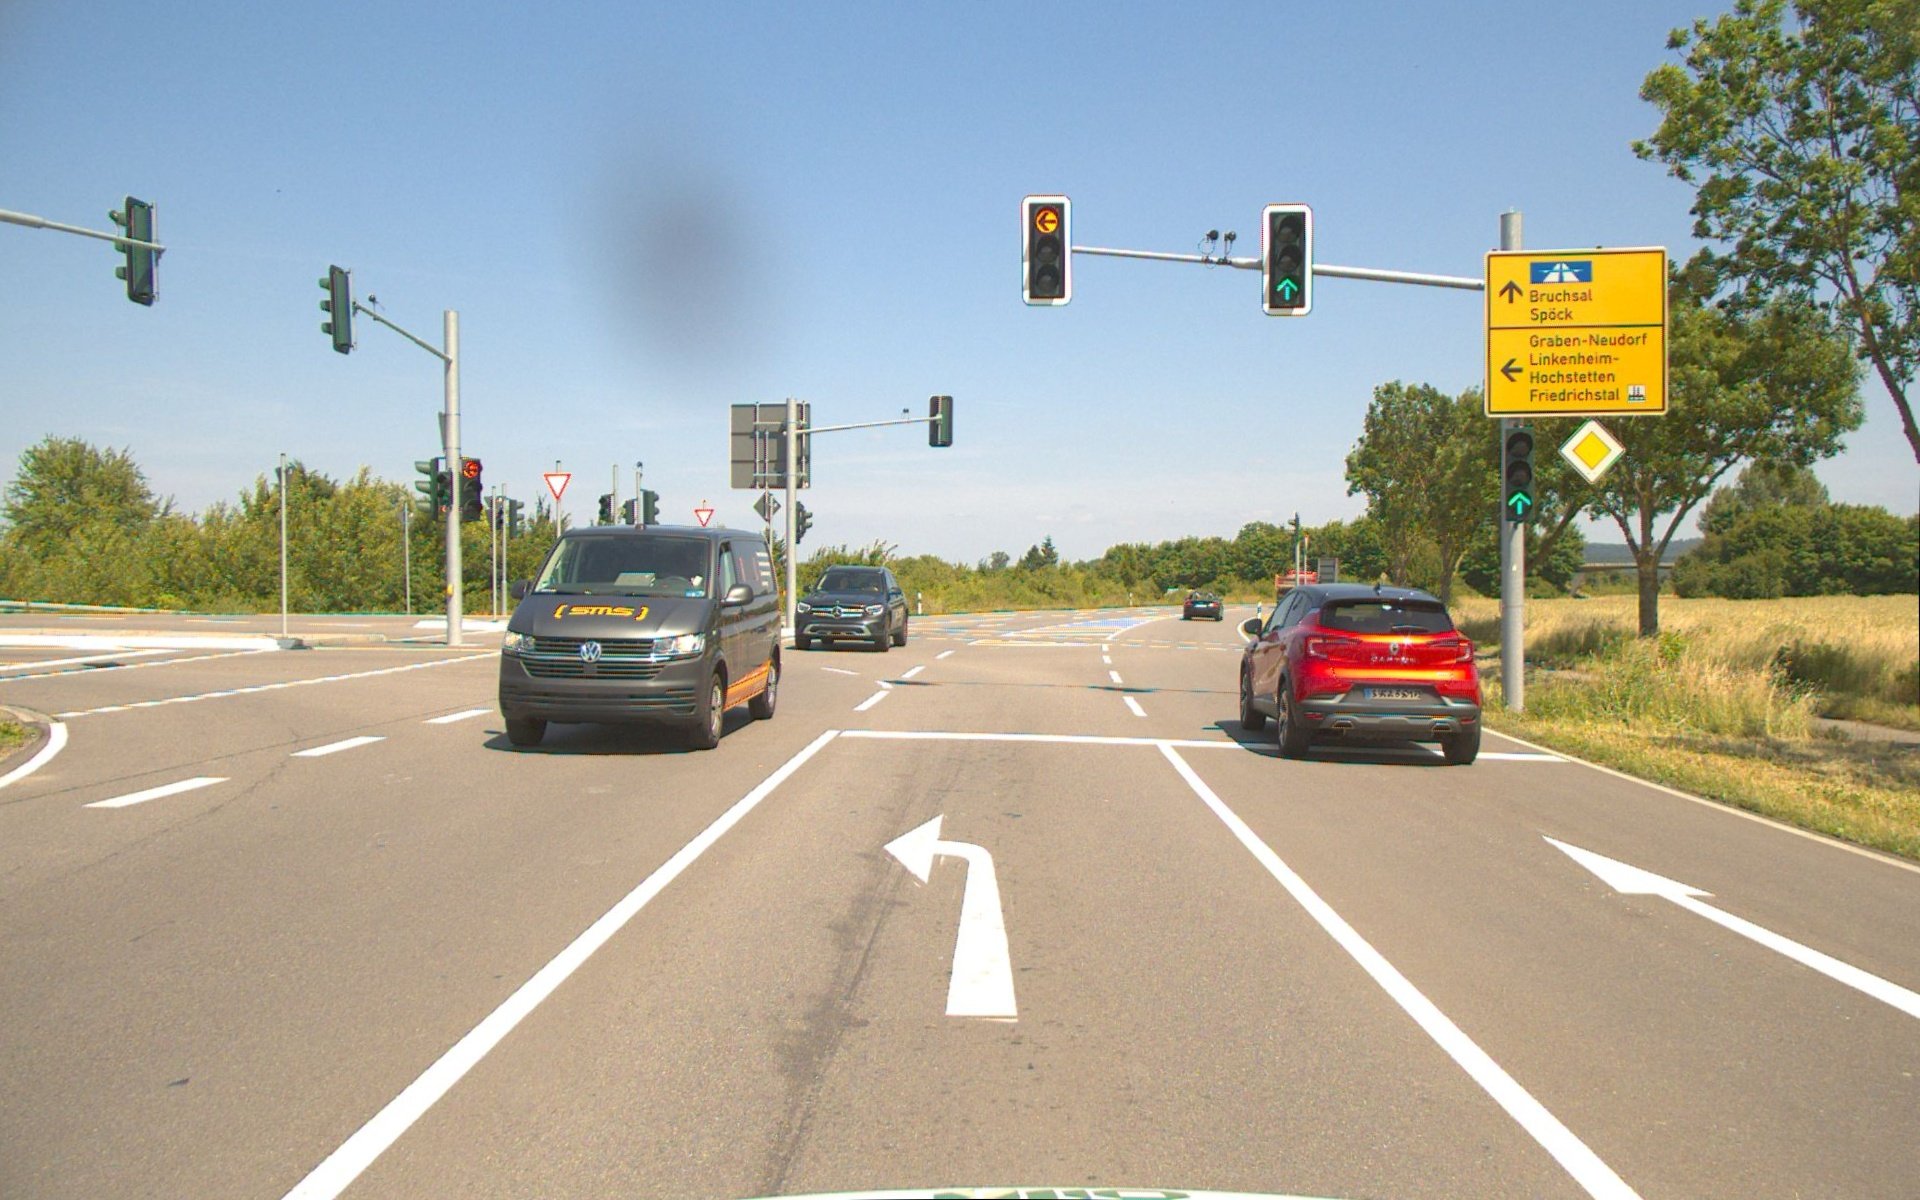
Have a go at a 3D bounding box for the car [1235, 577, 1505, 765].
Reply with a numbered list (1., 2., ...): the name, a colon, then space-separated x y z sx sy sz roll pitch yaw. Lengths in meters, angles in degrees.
1. car: 3.898 0.612 16.479 1.784 1.579 4.451 1 0 3

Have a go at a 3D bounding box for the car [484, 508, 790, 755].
1. car: -2.913 0.229 15.997 1.890 2.012 4.685 1 1 2

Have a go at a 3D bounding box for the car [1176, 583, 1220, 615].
1. car: 11.294 -0.022 78.431 1.710 1.400 3.682 1 -1 14

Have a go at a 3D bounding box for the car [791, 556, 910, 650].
1. car: -2.171 0.021 34.200 1.890 1.770 4.891 1 1 3

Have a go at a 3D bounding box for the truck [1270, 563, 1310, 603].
1. truck: 27.426 -1.369 137.180 2.656 3.106 8.170 0 -1 15
